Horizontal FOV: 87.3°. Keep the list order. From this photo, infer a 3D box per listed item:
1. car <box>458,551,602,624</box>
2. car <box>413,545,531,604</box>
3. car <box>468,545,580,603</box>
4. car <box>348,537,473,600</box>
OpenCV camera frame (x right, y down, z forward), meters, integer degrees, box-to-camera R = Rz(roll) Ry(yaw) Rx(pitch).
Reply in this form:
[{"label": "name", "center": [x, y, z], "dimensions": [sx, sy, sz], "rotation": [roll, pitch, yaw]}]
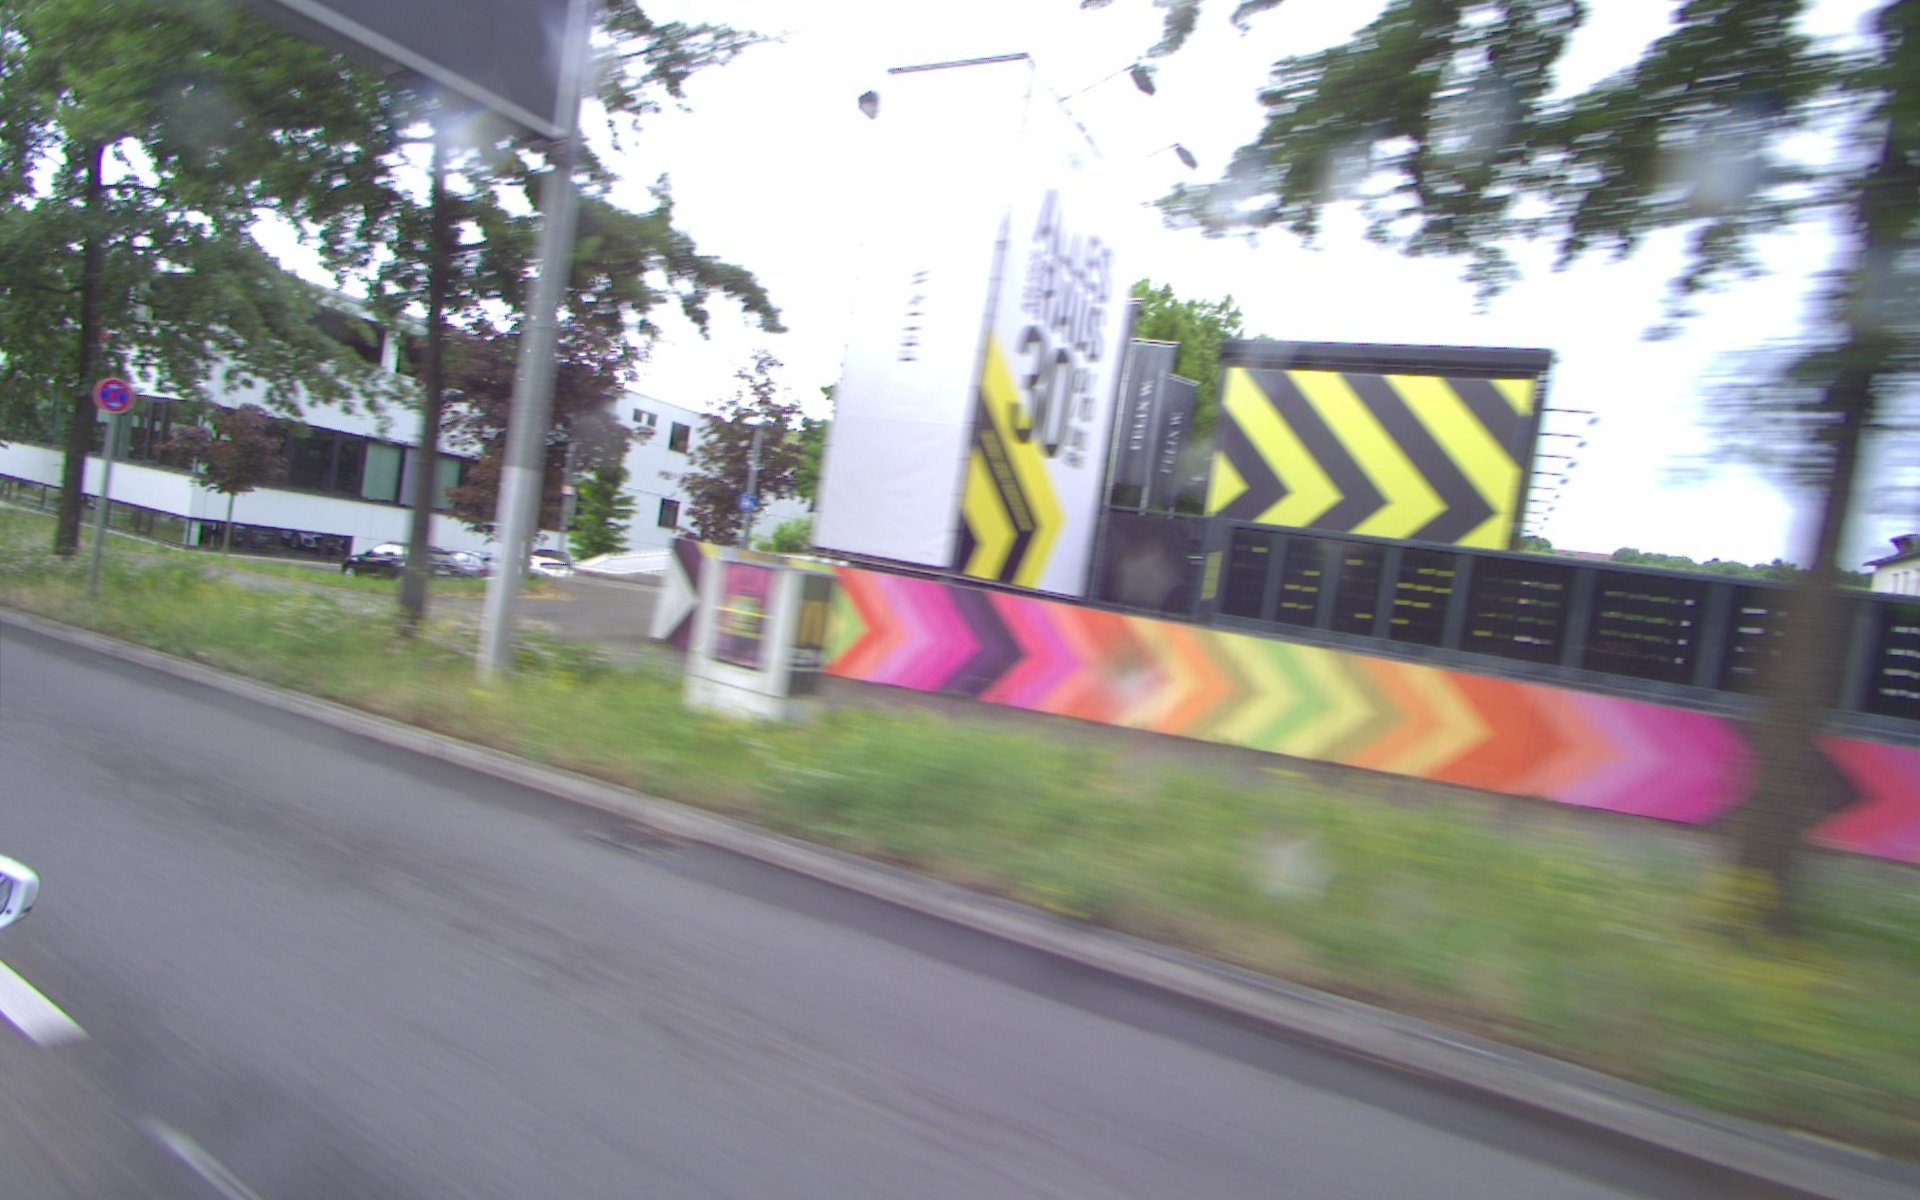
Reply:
[{"label": "car", "center": [-13.230, -0.400, 30.928], "dimensions": [3.938, 1.662, 1.868], "rotation": [7, -2, 28]}, {"label": "car", "center": [-17.602, -0.921, 36.259], "dimensions": [3.941, 1.563, 1.867], "rotation": [7, -2, 31]}, {"label": "car", "center": [-16.785, -1.006, 38.698], "dimensions": [3.941, 1.662, 1.867], "rotation": [7, -2, 31]}, {"label": "car", "center": [-18.604, -1.072, 34.032], "dimensions": [3.941, 1.563, 1.867], "rotation": [7, -2, 31]}]
